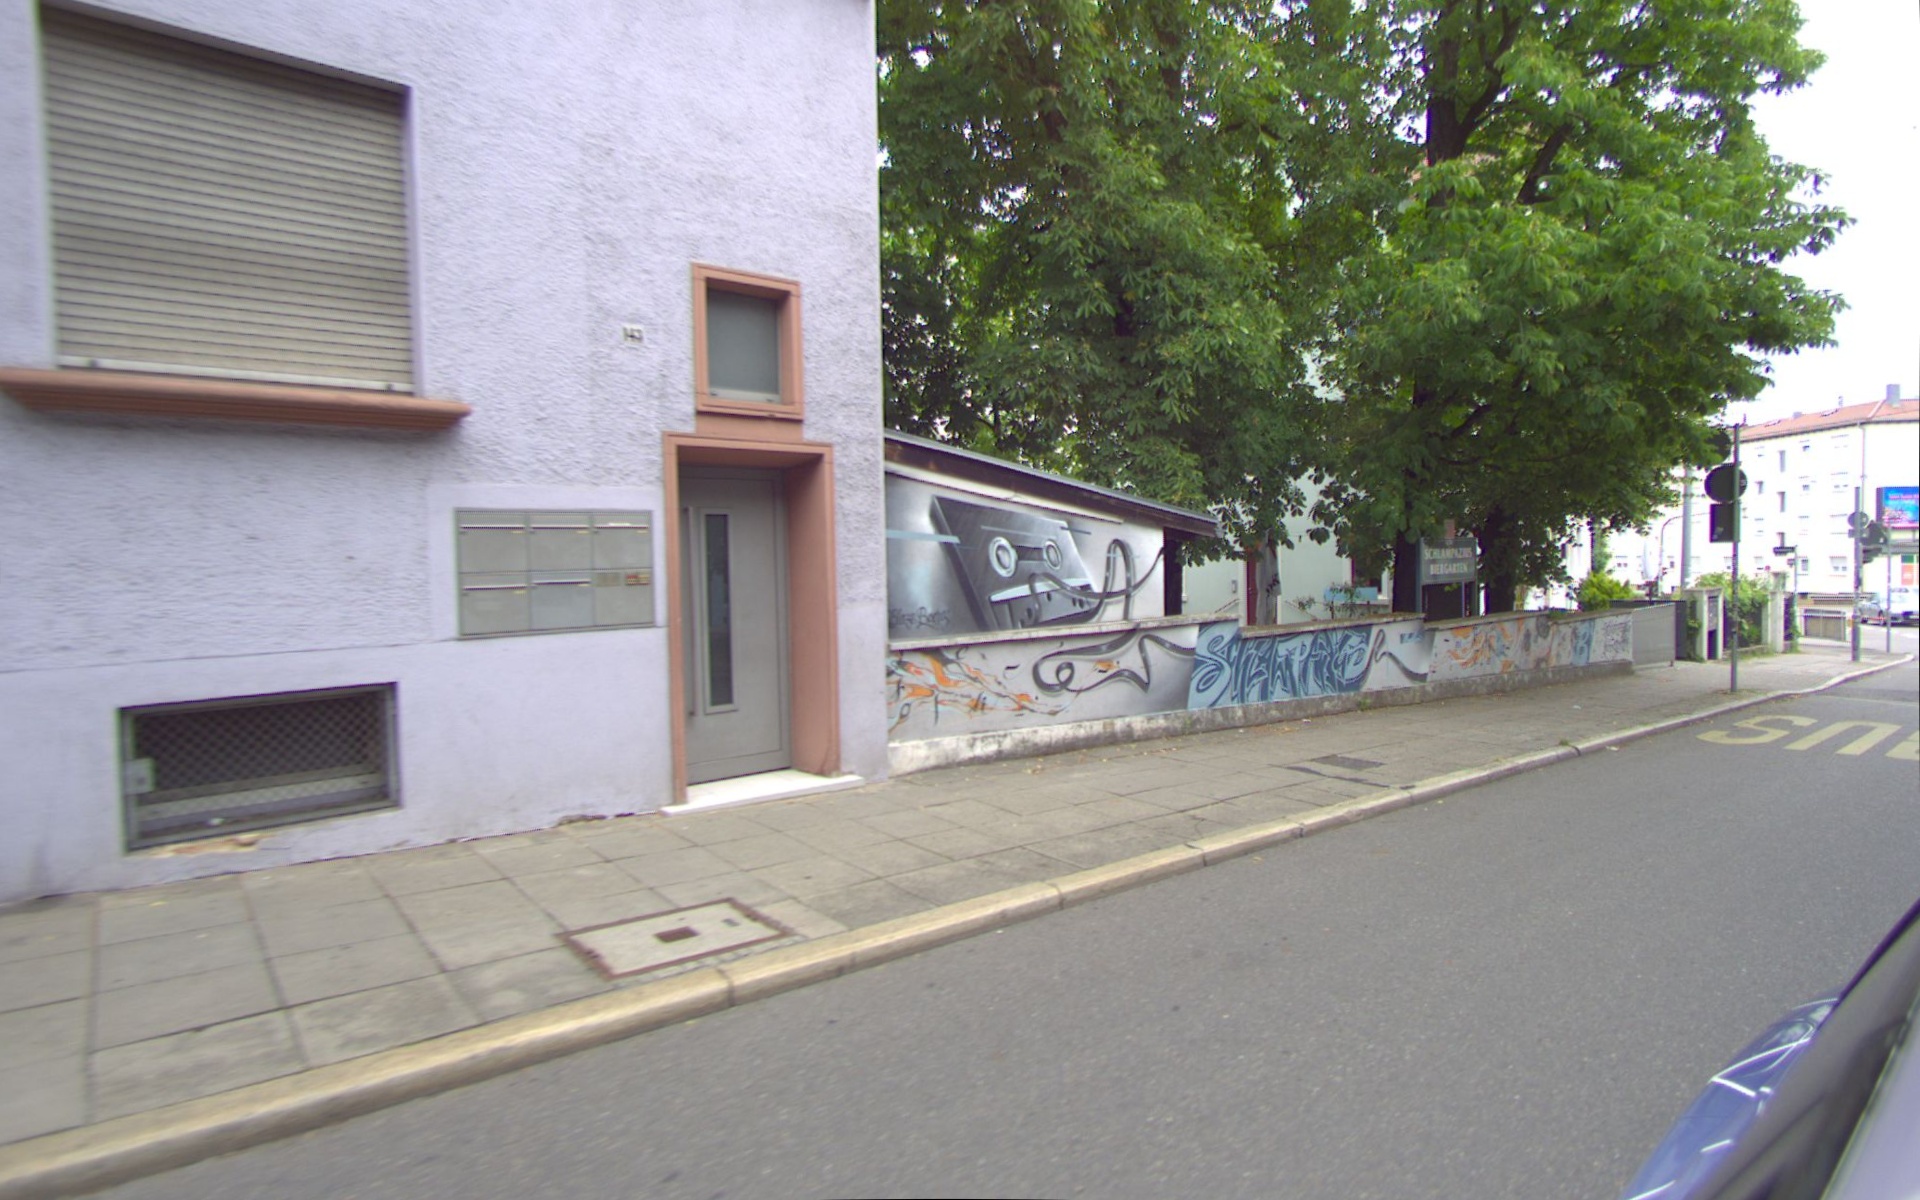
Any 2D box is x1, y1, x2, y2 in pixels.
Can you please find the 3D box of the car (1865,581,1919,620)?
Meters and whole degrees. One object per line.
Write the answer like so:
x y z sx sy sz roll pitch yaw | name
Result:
40.209 0.008 42.688 2.020 1.570 3.997 -1 0 27 | car

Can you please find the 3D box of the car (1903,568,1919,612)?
46.302 -0.450 47.436 1.981 2.038 4.230 -2 1 28 | car

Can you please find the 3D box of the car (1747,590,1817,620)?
44.779 0.291 55.230 1.933 1.570 4.002 -1 0 24 | car
